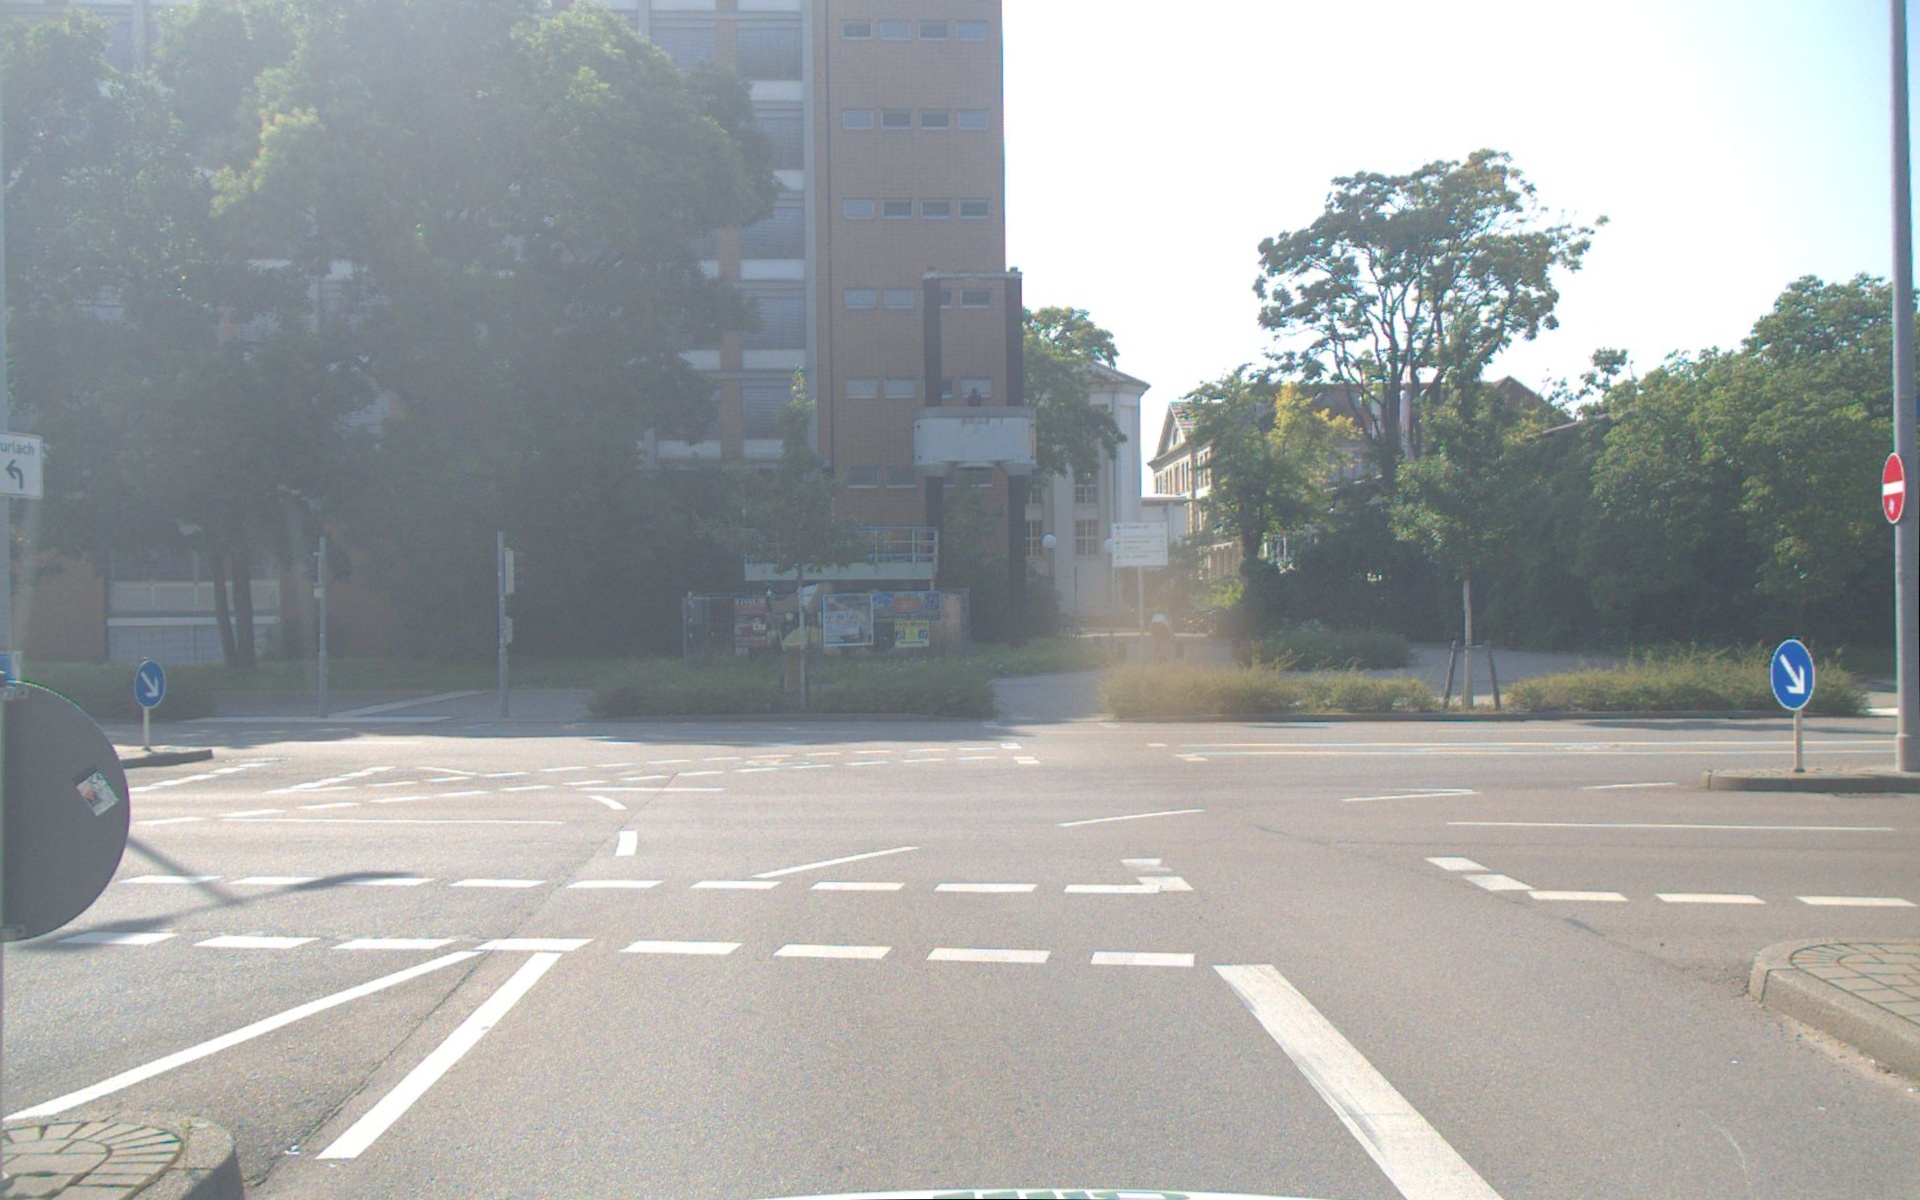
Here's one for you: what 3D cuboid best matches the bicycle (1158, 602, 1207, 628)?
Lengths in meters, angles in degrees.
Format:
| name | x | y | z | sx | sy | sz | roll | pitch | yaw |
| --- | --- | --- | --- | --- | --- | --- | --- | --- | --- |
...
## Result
| name | x | y | z | sx | sy | sz | roll | pitch | yaw |
| --- | --- | --- | --- | --- | --- | --- | --- | --- | --- |
| bicycle | 11.083 | 0.764 | 82.452 | 2.376 | 1.261 | 0.720 | 1 | 0 | 2 |

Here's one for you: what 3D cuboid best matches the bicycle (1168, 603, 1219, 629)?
| name | x | y | z | sx | sy | sz | roll | pitch | yaw |
| --- | --- | --- | --- | --- | --- | --- | --- | --- | --- |
| bicycle | 11.230 | 0.769 | 79.651 | 2.376 | 1.245 | 0.720 | 1 | 0 | 2 |

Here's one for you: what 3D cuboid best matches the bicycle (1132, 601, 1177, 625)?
| name | x | y | z | sx | sy | sz | roll | pitch | yaw |
| --- | --- | --- | --- | --- | --- | --- | --- | --- | --- |
| bicycle | 10.769 | 0.699 | 91.600 | 2.376 | 1.304 | 0.720 | 1 | 0 | 2 |

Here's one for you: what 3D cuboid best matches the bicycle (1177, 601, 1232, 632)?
| name | x | y | z | sx | sy | sz | roll | pitch | yaw |
| --- | --- | --- | --- | --- | --- | --- | --- | --- | --- |
| bicycle | 11.027 | 0.730 | 74.700 | 2.376 | 1.341 | 0.720 | 1 | 0 | 2 |

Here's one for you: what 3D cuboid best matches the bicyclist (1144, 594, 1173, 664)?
| name | x | y | z | sx | sy | sz | roll | pitch | yaw |
| --- | --- | --- | --- | --- | --- | --- | --- | --- | --- |
| bicyclist | 4.711 | 0.689 | 39.272 | 0.636 | 1.629 | 0.920 | -1 | 0 | 6 |

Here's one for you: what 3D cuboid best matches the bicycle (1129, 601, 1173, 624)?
| name | x | y | z | sx | sy | sz | roll | pitch | yaw |
| --- | --- | --- | --- | --- | --- | --- | --- | --- | --- |
| bicycle | 10.770 | 0.701 | 93.260 | 2.376 | 1.284 | 0.720 | 1 | 0 | 2 |

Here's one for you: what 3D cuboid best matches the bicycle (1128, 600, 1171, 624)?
| name | x | y | z | sx | sy | sz | roll | pitch | yaw |
| --- | --- | --- | --- | --- | --- | --- | --- | --- | --- |
| bicycle | 10.790 | 0.665 | 94.089 | 2.376 | 1.303 | 0.720 | 1 | 0 | 2 |

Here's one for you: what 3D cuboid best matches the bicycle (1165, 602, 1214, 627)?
| name | x | y | z | sx | sy | sz | roll | pitch | yaw |
| --- | --- | --- | --- | --- | --- | --- | --- | --- | --- |
| bicycle | 11.575 | 0.732 | 83.485 | 2.376 | 1.250 | 0.720 | 1 | 0 | 2 |

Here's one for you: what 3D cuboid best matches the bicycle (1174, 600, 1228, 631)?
| name | x | y | z | sx | sy | sz | roll | pitch | yaw |
| --- | --- | --- | --- | --- | --- | --- | --- | --- | --- |
| bicycle | 11.062 | 0.710 | 75.836 | 2.376 | 1.341 | 0.720 | 1 | 0 | 2 |

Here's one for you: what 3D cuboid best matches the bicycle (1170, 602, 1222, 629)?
| name | x | y | z | sx | sy | sz | roll | pitch | yaw |
| --- | --- | --- | --- | --- | --- | --- | --- | --- | --- |
| bicycle | 11.195 | 0.743 | 78.377 | 2.376 | 1.245 | 0.720 | 1 | 0 | 2 |

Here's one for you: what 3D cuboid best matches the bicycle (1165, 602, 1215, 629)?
| name | x | y | z | sx | sy | sz | roll | pitch | yaw |
| --- | --- | --- | --- | --- | --- | --- | --- | --- | --- |
| bicycle | 11.346 | 0.758 | 81.622 | 2.376 | 1.256 | 0.720 | 1 | 0 | 2 |

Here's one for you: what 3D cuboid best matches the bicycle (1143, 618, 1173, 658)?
| name | x | y | z | sx | sy | sz | roll | pitch | yaw |
| --- | --- | --- | --- | --- | --- | --- | --- | --- | --- |
| bicycle | 4.701 | 0.899 | 39.284 | 0.659 | 0.895 | 1.402 | -1 | 0 | 6 |
